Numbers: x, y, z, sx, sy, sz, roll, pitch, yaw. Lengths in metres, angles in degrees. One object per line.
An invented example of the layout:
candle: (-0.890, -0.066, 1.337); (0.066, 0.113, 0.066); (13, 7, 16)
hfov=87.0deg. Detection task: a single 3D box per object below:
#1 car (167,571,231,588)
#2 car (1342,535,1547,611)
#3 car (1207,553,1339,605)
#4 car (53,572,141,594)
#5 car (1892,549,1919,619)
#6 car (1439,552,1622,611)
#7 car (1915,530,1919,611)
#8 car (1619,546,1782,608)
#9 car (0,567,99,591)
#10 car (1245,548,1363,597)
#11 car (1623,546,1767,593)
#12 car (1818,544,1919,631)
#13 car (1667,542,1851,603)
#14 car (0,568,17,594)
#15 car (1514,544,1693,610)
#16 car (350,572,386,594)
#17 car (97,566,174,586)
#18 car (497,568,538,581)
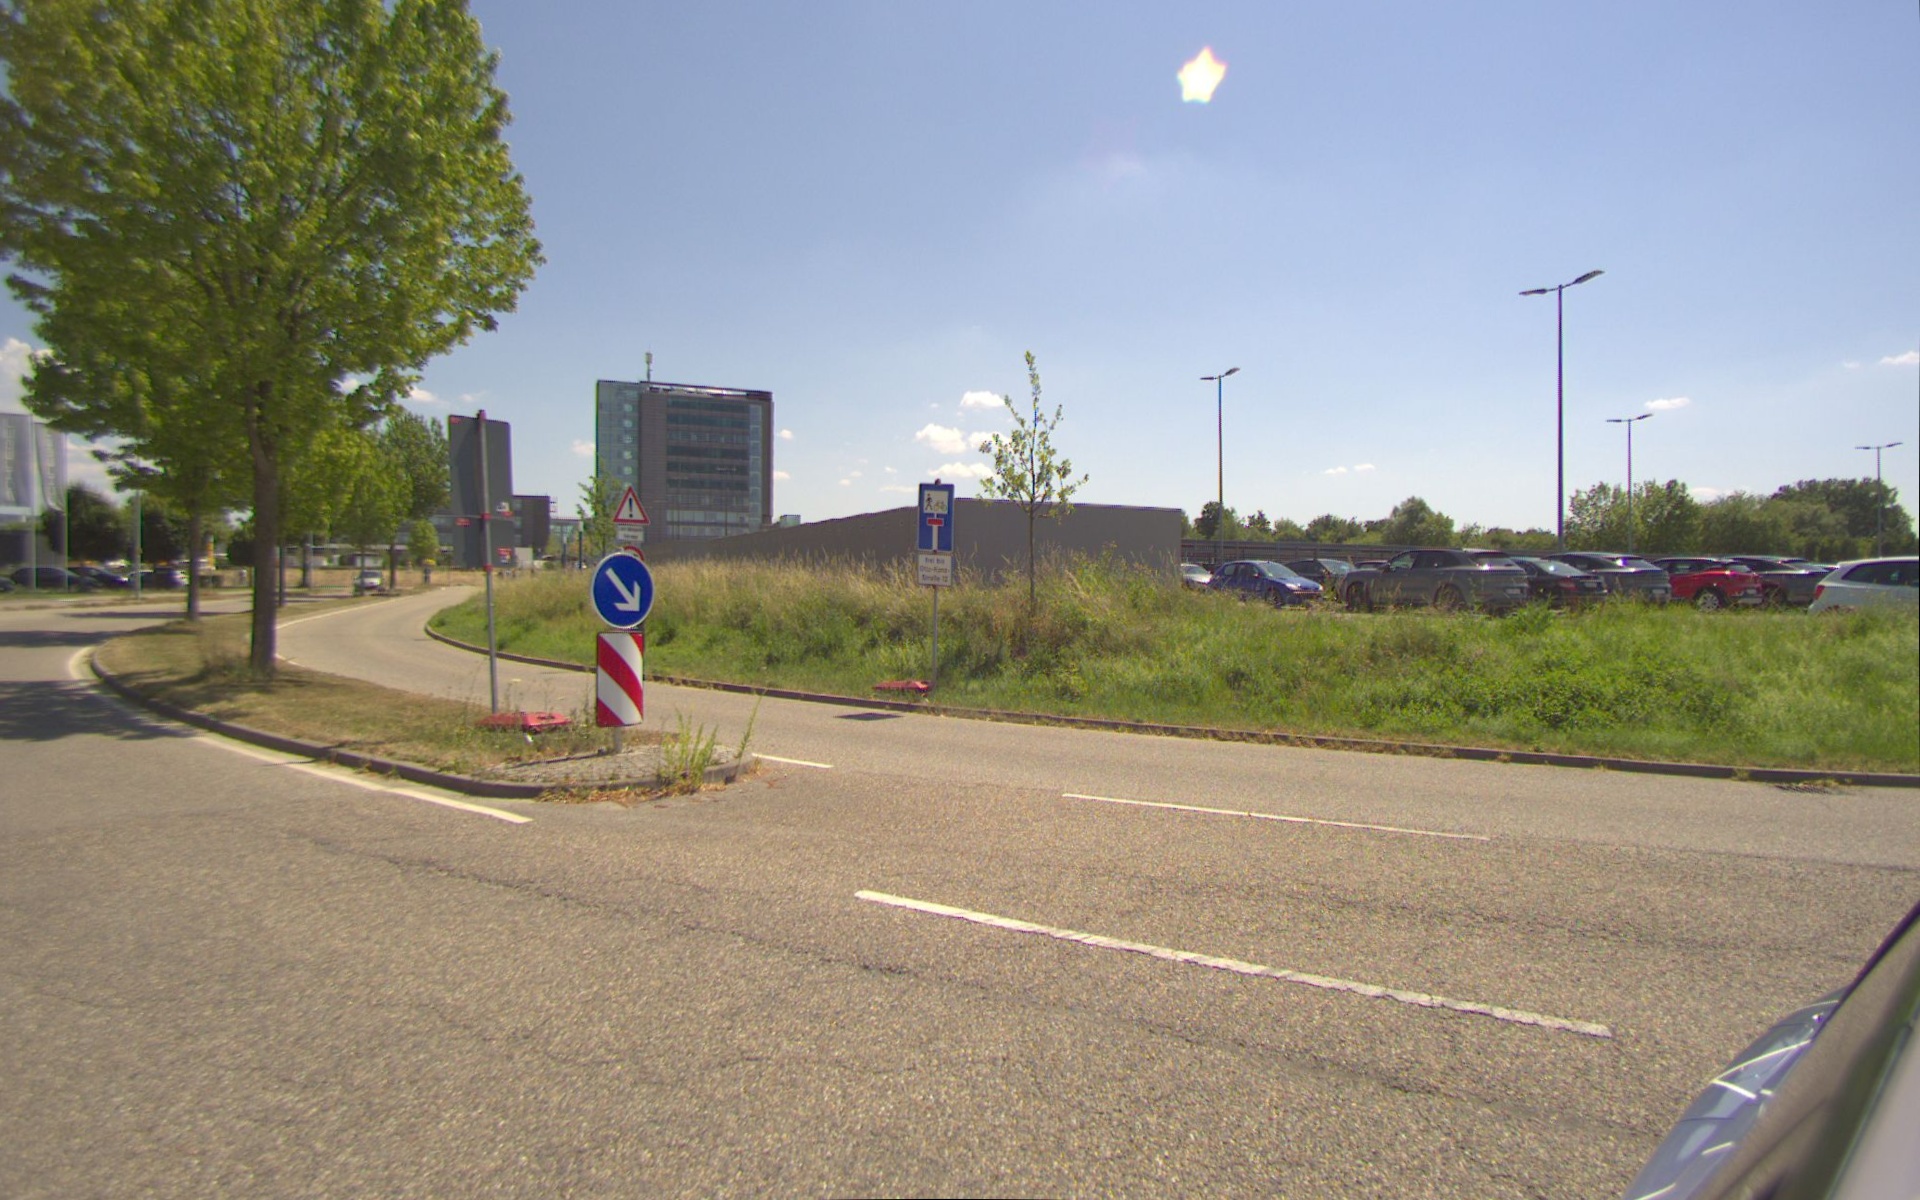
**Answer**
car: (-59.802, -1.633, 79.595); (3.765, 1.289, 1.613); (-1, 2, -24)
car: (12.022, -0.629, 25.461); (1.740, 1.711, 4.612); (0, 0, -25)
car: (9.289, -0.662, 30.286); (1.620, 1.463, 3.644); (-1, 2, -31)
car: (-53.515, -1.081, 62.810); (3.812, 1.289, 1.709); (-1, 2, -24)
car: (17.636, -0.285, 16.495); (1.470, 1.196, 3.277); (-3, 2, -23)
car: (14.536, -0.533, 26.007); (1.619, 1.379, 3.857); (-1, 3, -25)
car: (19.779, -0.570, 17.898); (1.837, 1.546, 3.757); (-2, 2, -18)
car: (21.066, -0.621, 28.917); (1.491, 1.594, 3.424); (-2, 0, -27)
car: (-50.935, -1.199, 56.660); (3.812, 1.289, 1.709); (-1, 2, -24)
car: (11.208, -0.927, 33.184); (1.566, 1.517, 3.647); (-1, 2, -25)
car: (25.436, -1.094, 35.172); (1.733, 1.517, 3.647); (-1, 3, -25)
car: (15.534, -0.207, 15.108); (1.542, 1.313, 3.886); (-3, 2, -22)
car: (23.526, -0.774, 29.962); (1.705, 1.620, 3.884); (-2, 0, -27)
car: (-47.509, -0.886, 47.901); (3.812, 1.197, 1.709); (-1, 2, -24)
car: (17.096, -0.661, 27.067); (1.733, 1.617, 3.647); (-1, 3, -25)
car: (-44.261, -1.253, 75.703); (1.644, 1.524, 3.579); (-2, 0, -20)
car: (-57.553, -1.685, 70.705); (3.812, 1.289, 1.709); (-1, 2, -24)
car: (-44.853, -2.638, 102.649); (3.765, 1.289, 1.613); (-1, 2, -24)
